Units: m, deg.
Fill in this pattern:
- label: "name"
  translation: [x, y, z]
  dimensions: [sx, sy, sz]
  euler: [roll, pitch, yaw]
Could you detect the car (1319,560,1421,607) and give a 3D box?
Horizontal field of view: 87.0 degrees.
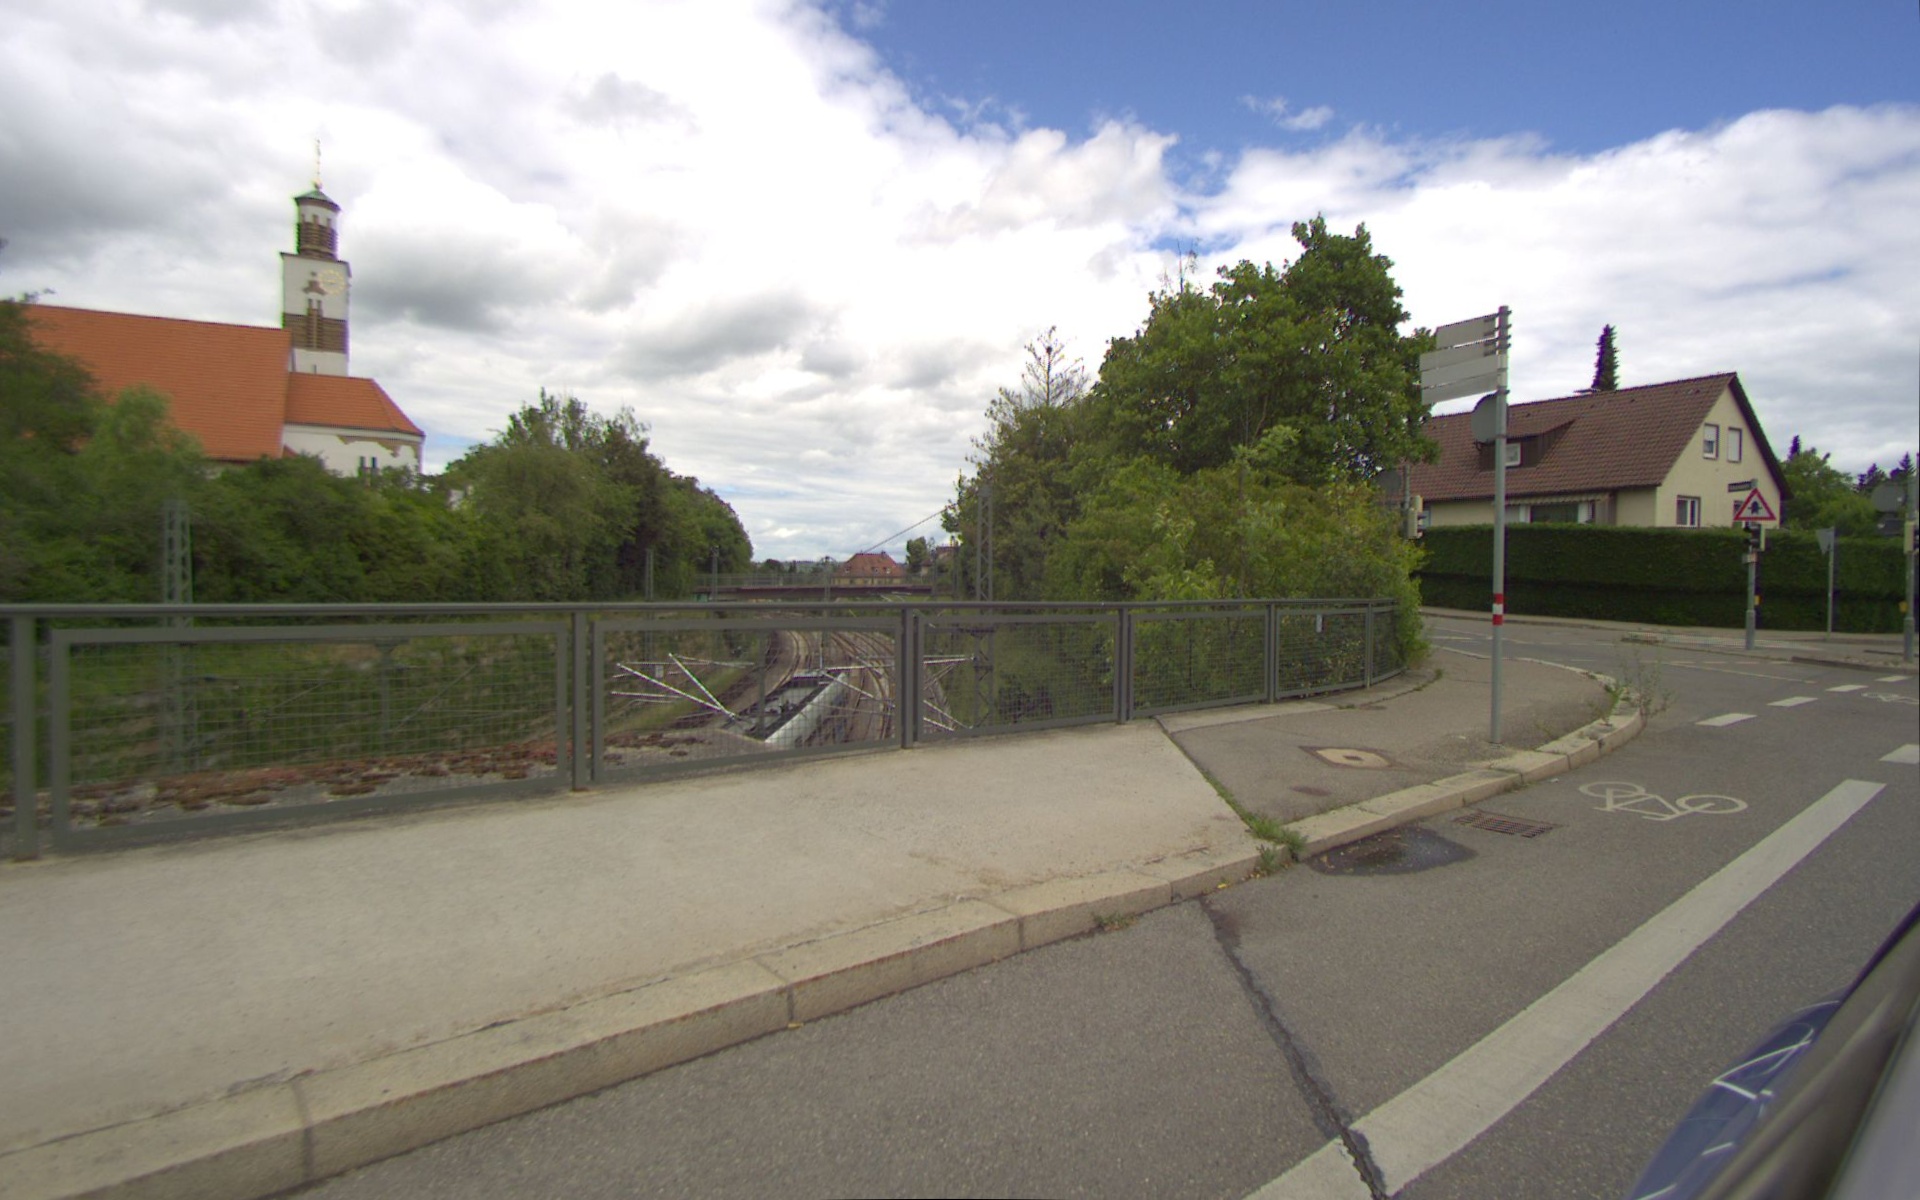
- label: "car"
  translation: [14.900, -0.637, 37.020]
  dimensions: [1.679, 1.461, 3.930]
  euler: [2, 3, -7]
